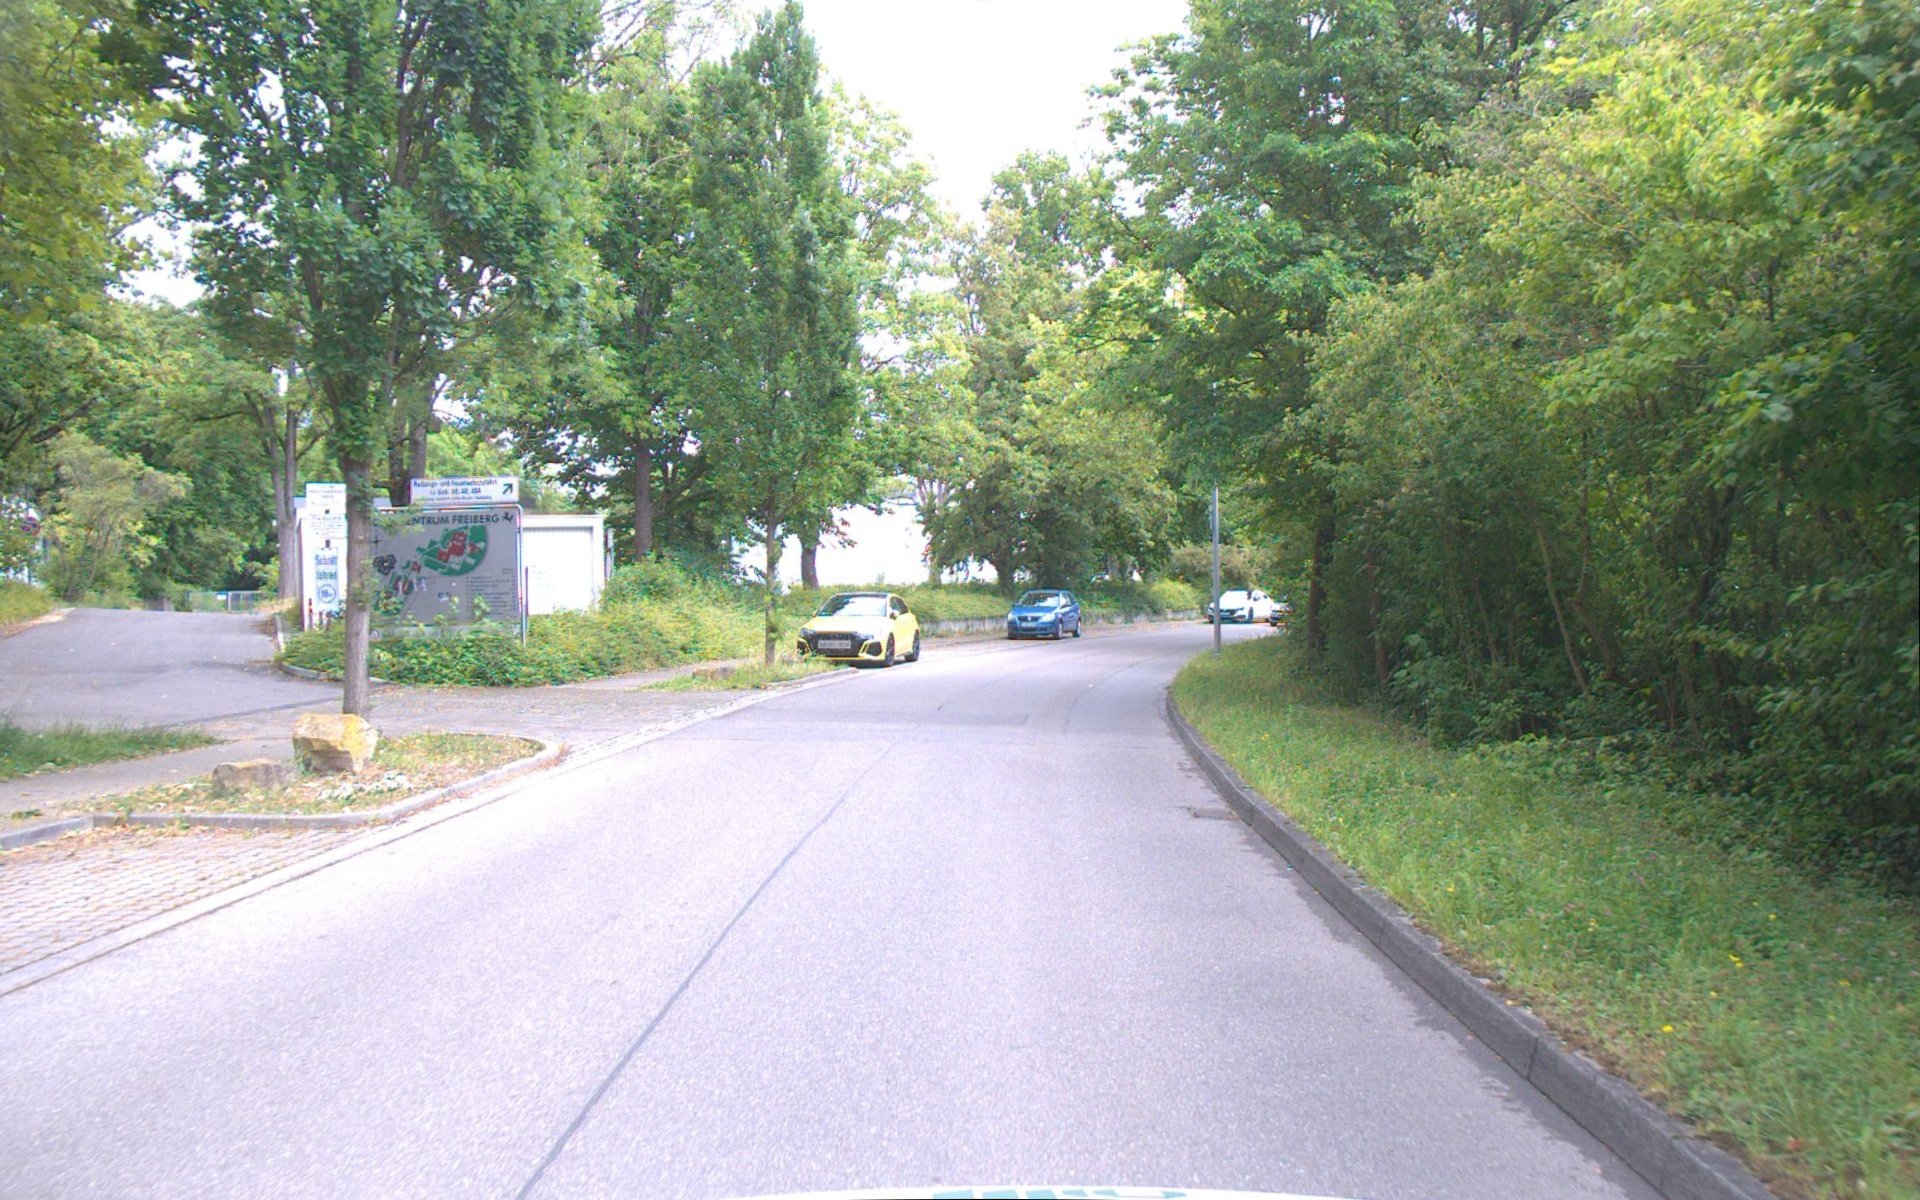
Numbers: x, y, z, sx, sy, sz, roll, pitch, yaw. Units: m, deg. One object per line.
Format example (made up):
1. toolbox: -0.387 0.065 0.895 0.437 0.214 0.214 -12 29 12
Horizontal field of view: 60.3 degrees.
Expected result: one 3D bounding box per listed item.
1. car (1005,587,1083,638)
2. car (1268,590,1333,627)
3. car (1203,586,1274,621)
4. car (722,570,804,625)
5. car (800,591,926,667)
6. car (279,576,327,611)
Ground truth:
1. car: 2.606 0.359 50.637 1.501 1.484 3.722 -1 0 17
2. car: 14.342 0.340 69.548 1.644 1.488 4.057 2 1 27
3. car: 12.061 0.133 71.440 1.779 1.449 4.354 1 1 28
4. car: -6.364 -0.087 53.094 1.716 1.650 3.849 -2 1 -21
5. car: -1.872 0.543 33.286 1.664 1.427 4.277 0 0 9
6. car: -34.874 -0.367 87.861 1.841 1.776 3.983 -2 1 -15
